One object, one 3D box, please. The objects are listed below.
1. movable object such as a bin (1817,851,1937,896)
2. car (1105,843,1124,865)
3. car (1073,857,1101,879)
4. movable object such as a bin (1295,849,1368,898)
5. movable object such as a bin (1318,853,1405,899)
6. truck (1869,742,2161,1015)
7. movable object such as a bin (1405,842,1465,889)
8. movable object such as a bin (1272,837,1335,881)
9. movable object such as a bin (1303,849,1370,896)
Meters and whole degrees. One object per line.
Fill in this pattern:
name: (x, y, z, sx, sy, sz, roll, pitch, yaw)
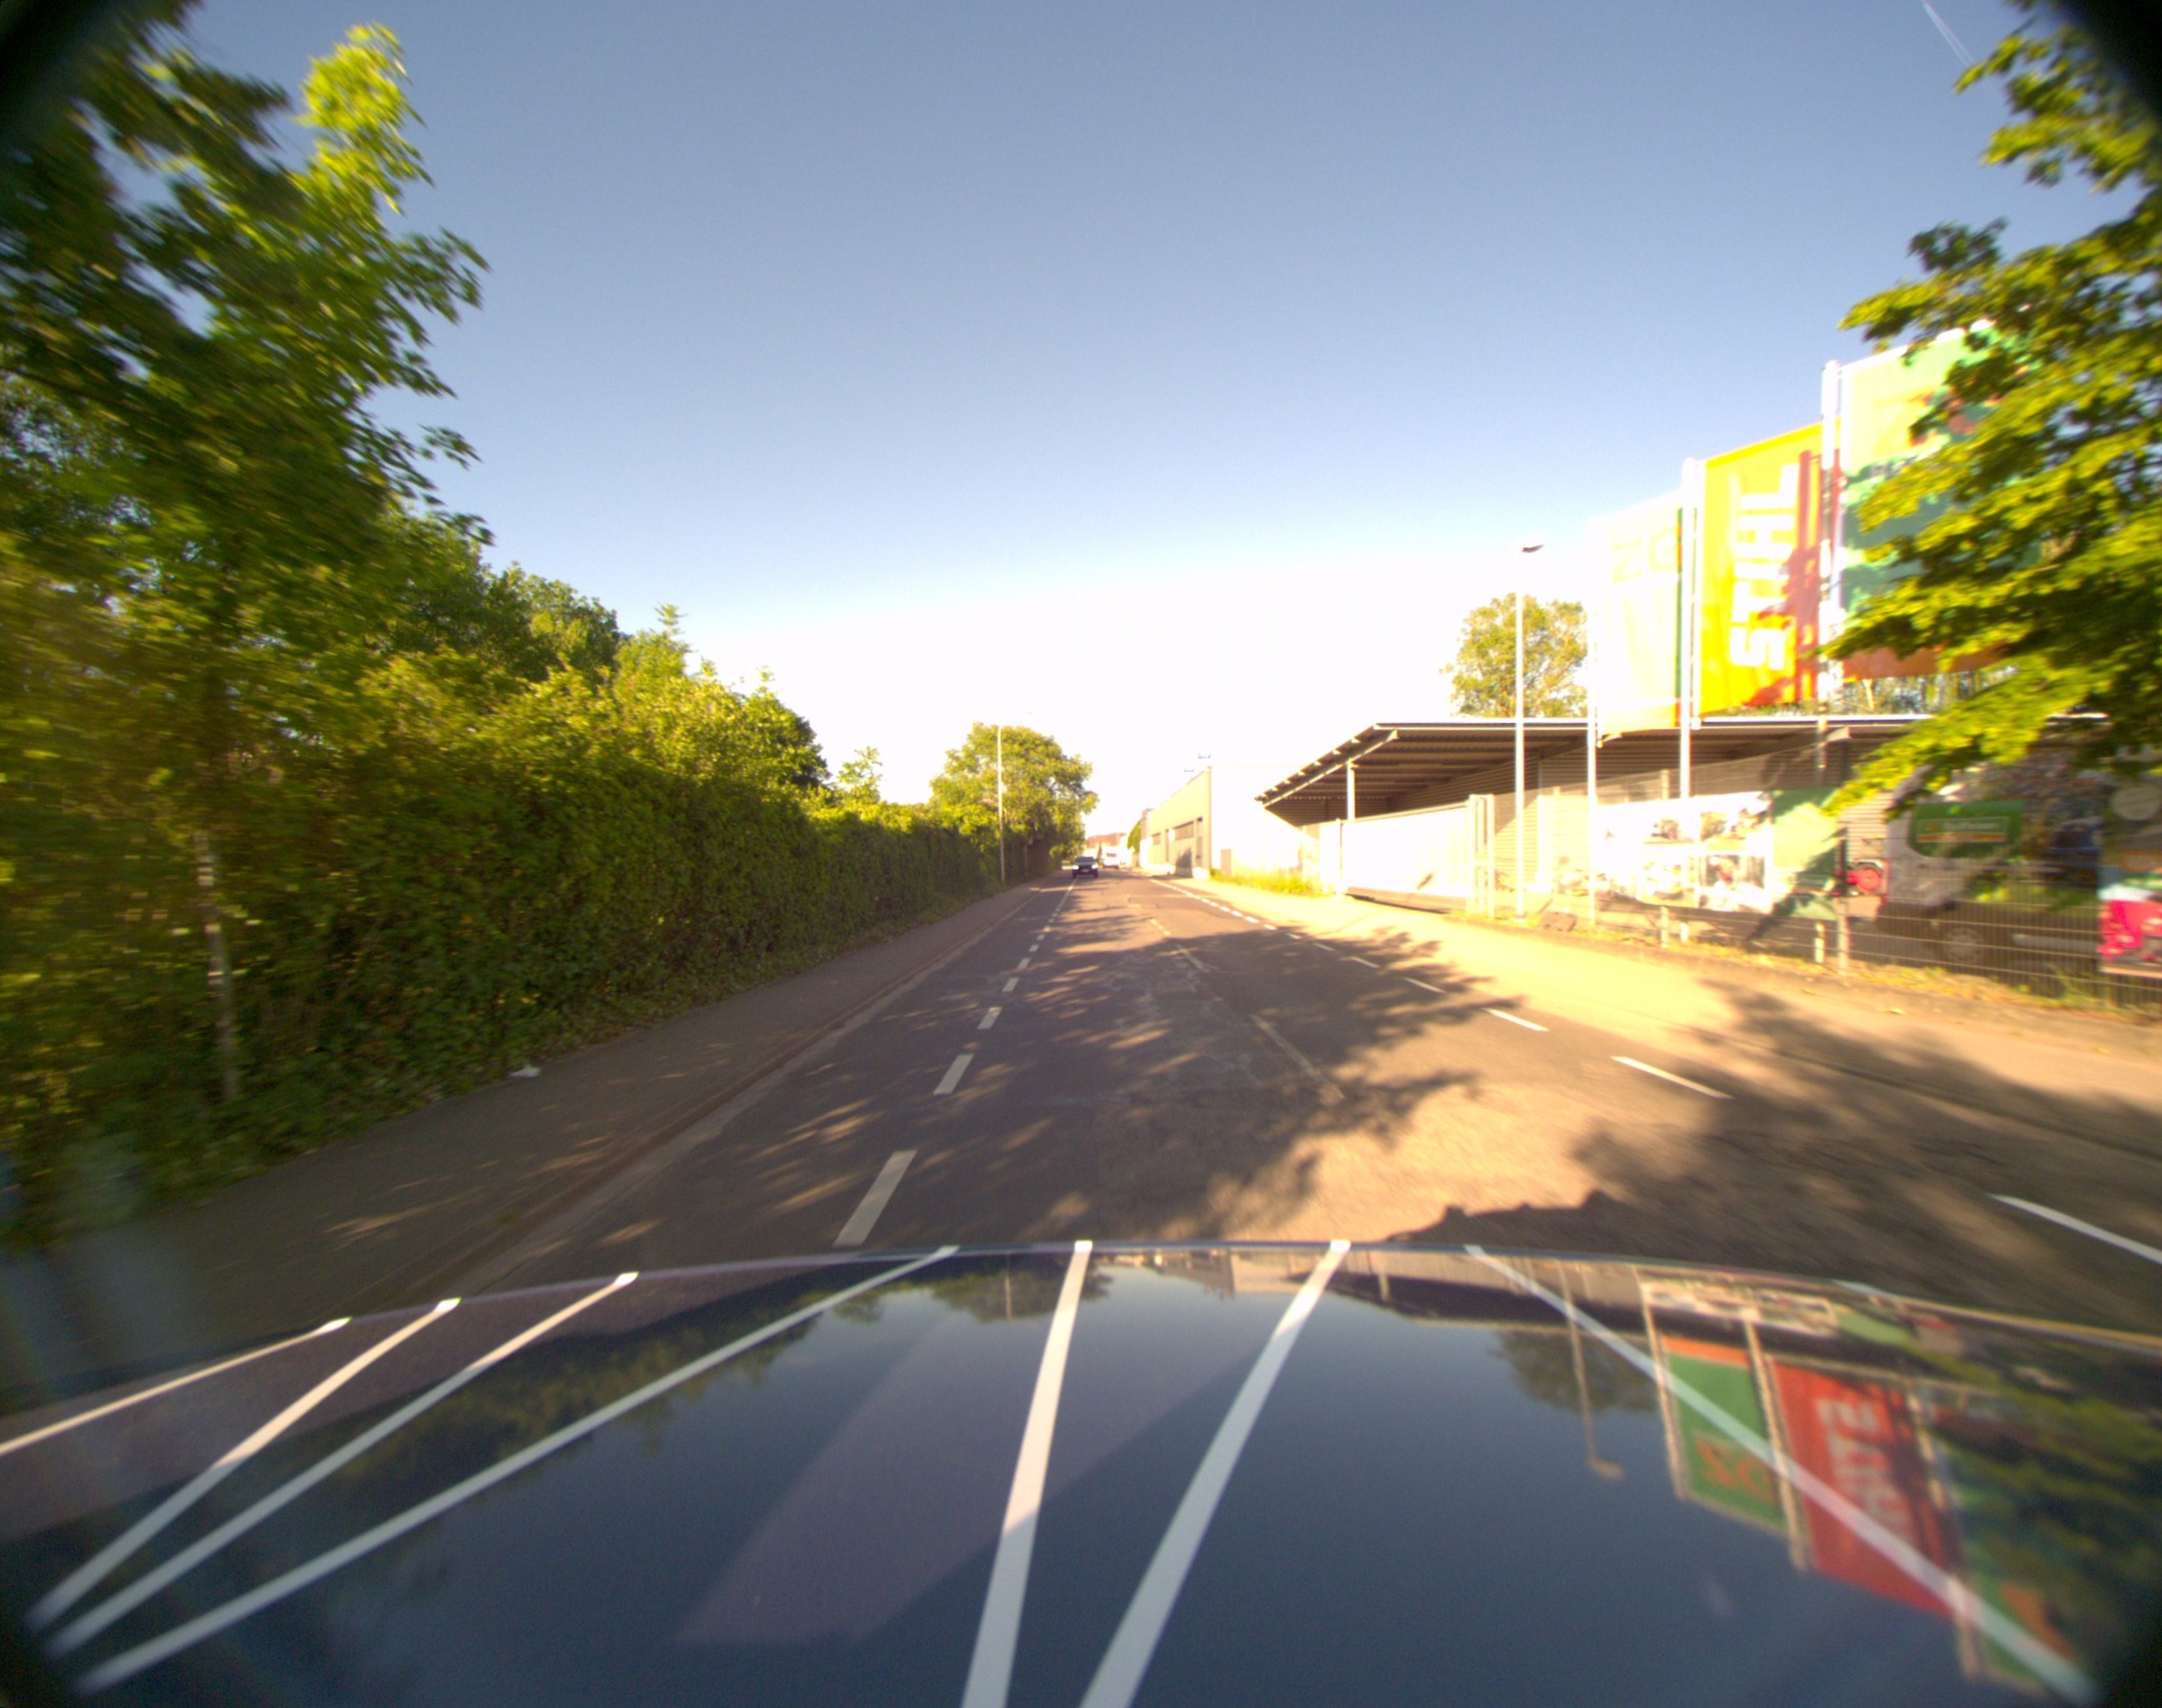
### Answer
movable object such as a bin: (27.839, 0.638, 26.679, 1.331, 1.482, 2.757, 0, 0, 0)
car: (4.448, -0.049, 101.668, 2.128, 2.764, 5.926, 3, 0, 0)
car: (0.472, 1.043, 59.366, 2.037, 1.623, 4.613, 0, 1, 0)
movable object such as a bin: (11.145, 0.852, 33.853, 2.882, 2.136, 1.502, 0, -1, 28)
movable object such as a bin: (11.594, 0.901, 31.543, 3.047, 1.824, 1.526, 0, -1, -1)
truck: (11.917, 0.254, 7.614, 2.084, 2.745, 5.765, 1, 0, 0)
movable object such as a bin: (16.392, 0.522, 35.245, 1.580, 2.080, 2.478, 0, -1, -1)
movable object such as a bin: (11.249, 0.239, 38.460, 2.765, 2.152, 1.526, 0, -1, 30)
movable object such as a bin: (11.891, 0.839, 35.315, 2.793, 2.113, 1.387, 0, -1, 26)
